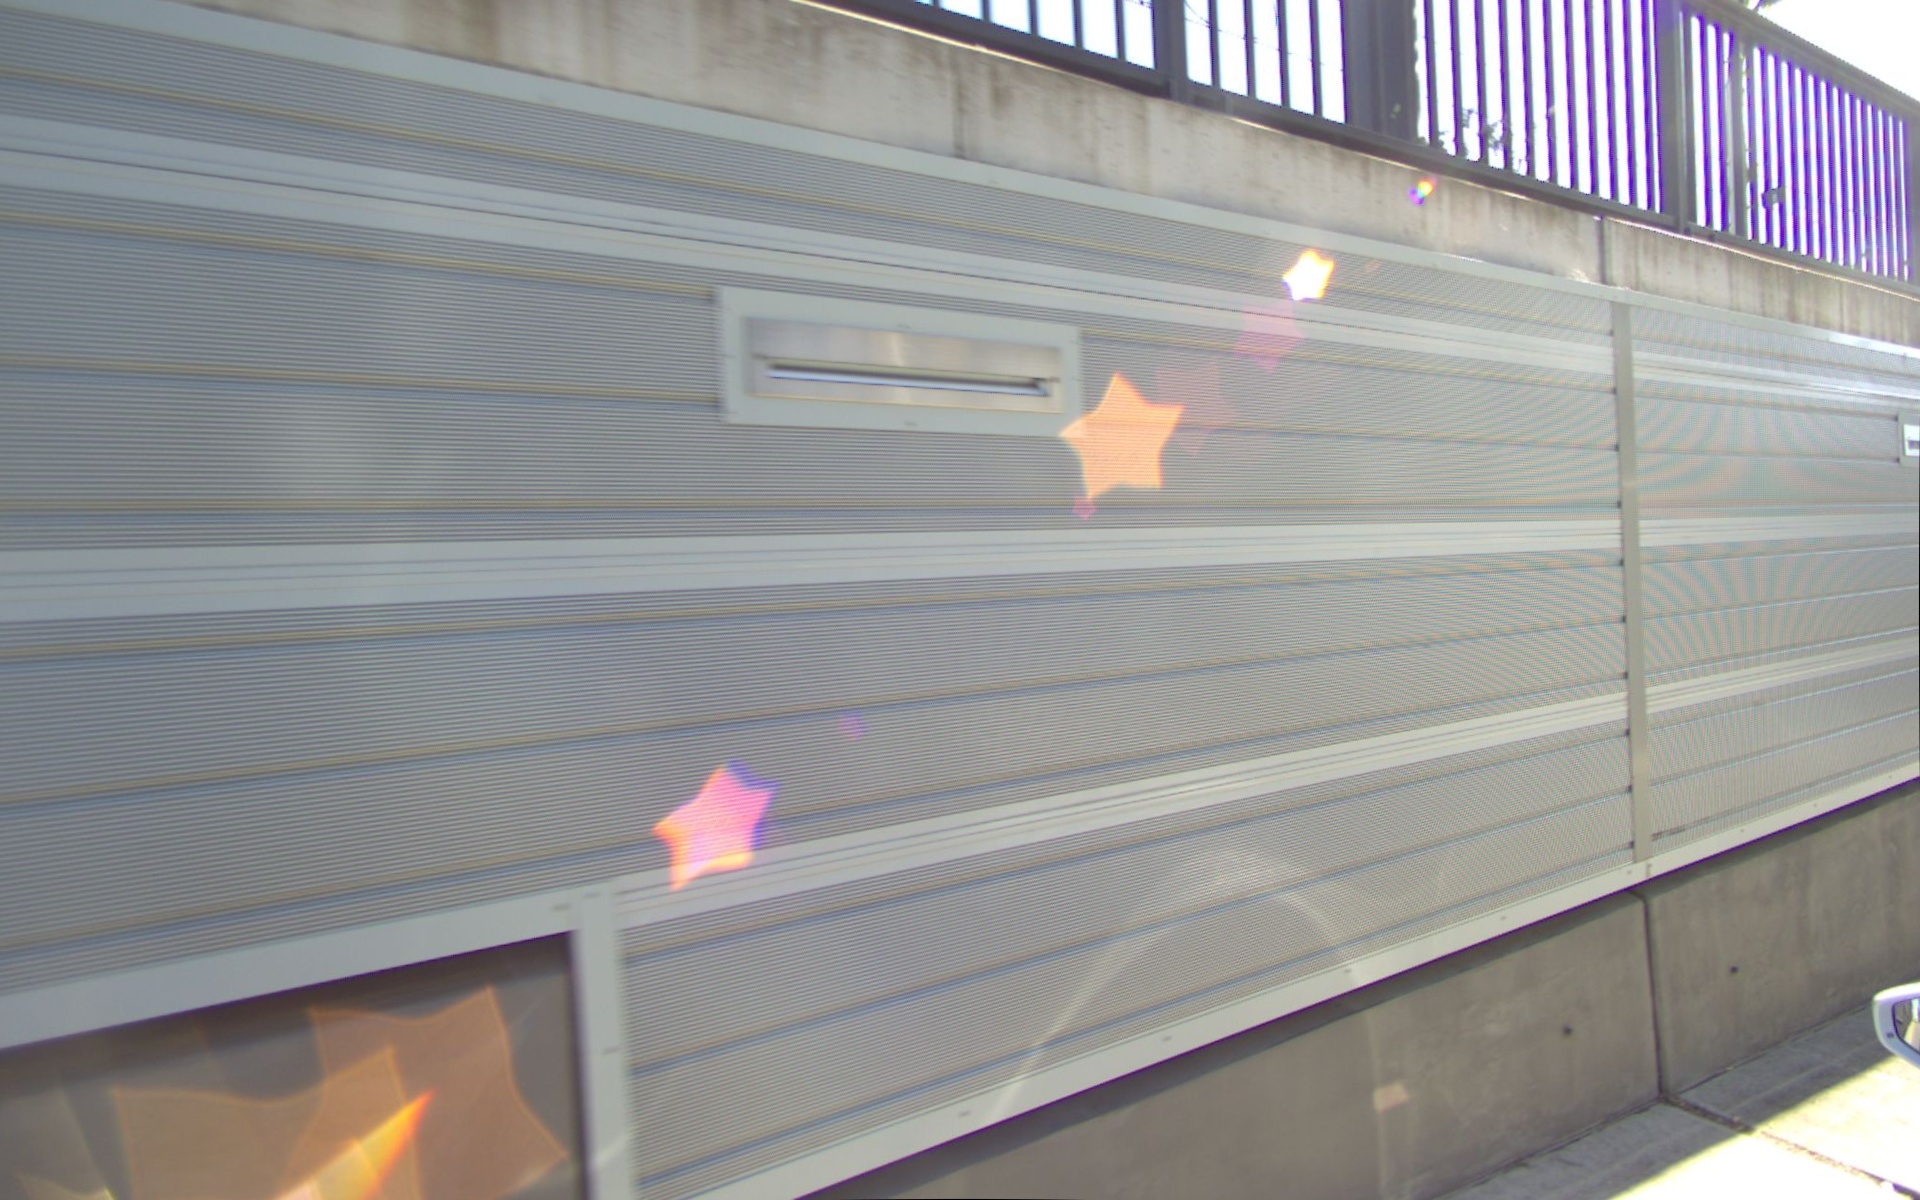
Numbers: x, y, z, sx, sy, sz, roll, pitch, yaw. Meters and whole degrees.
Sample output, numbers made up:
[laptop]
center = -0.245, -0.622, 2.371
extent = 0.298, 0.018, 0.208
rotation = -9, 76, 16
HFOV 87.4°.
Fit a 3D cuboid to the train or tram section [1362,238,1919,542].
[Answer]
[train or tram section]
center = 12.317, -2.982, 17.085
extent = 13.181, 3.705, 2.598
rotation = -3, 2, -30
